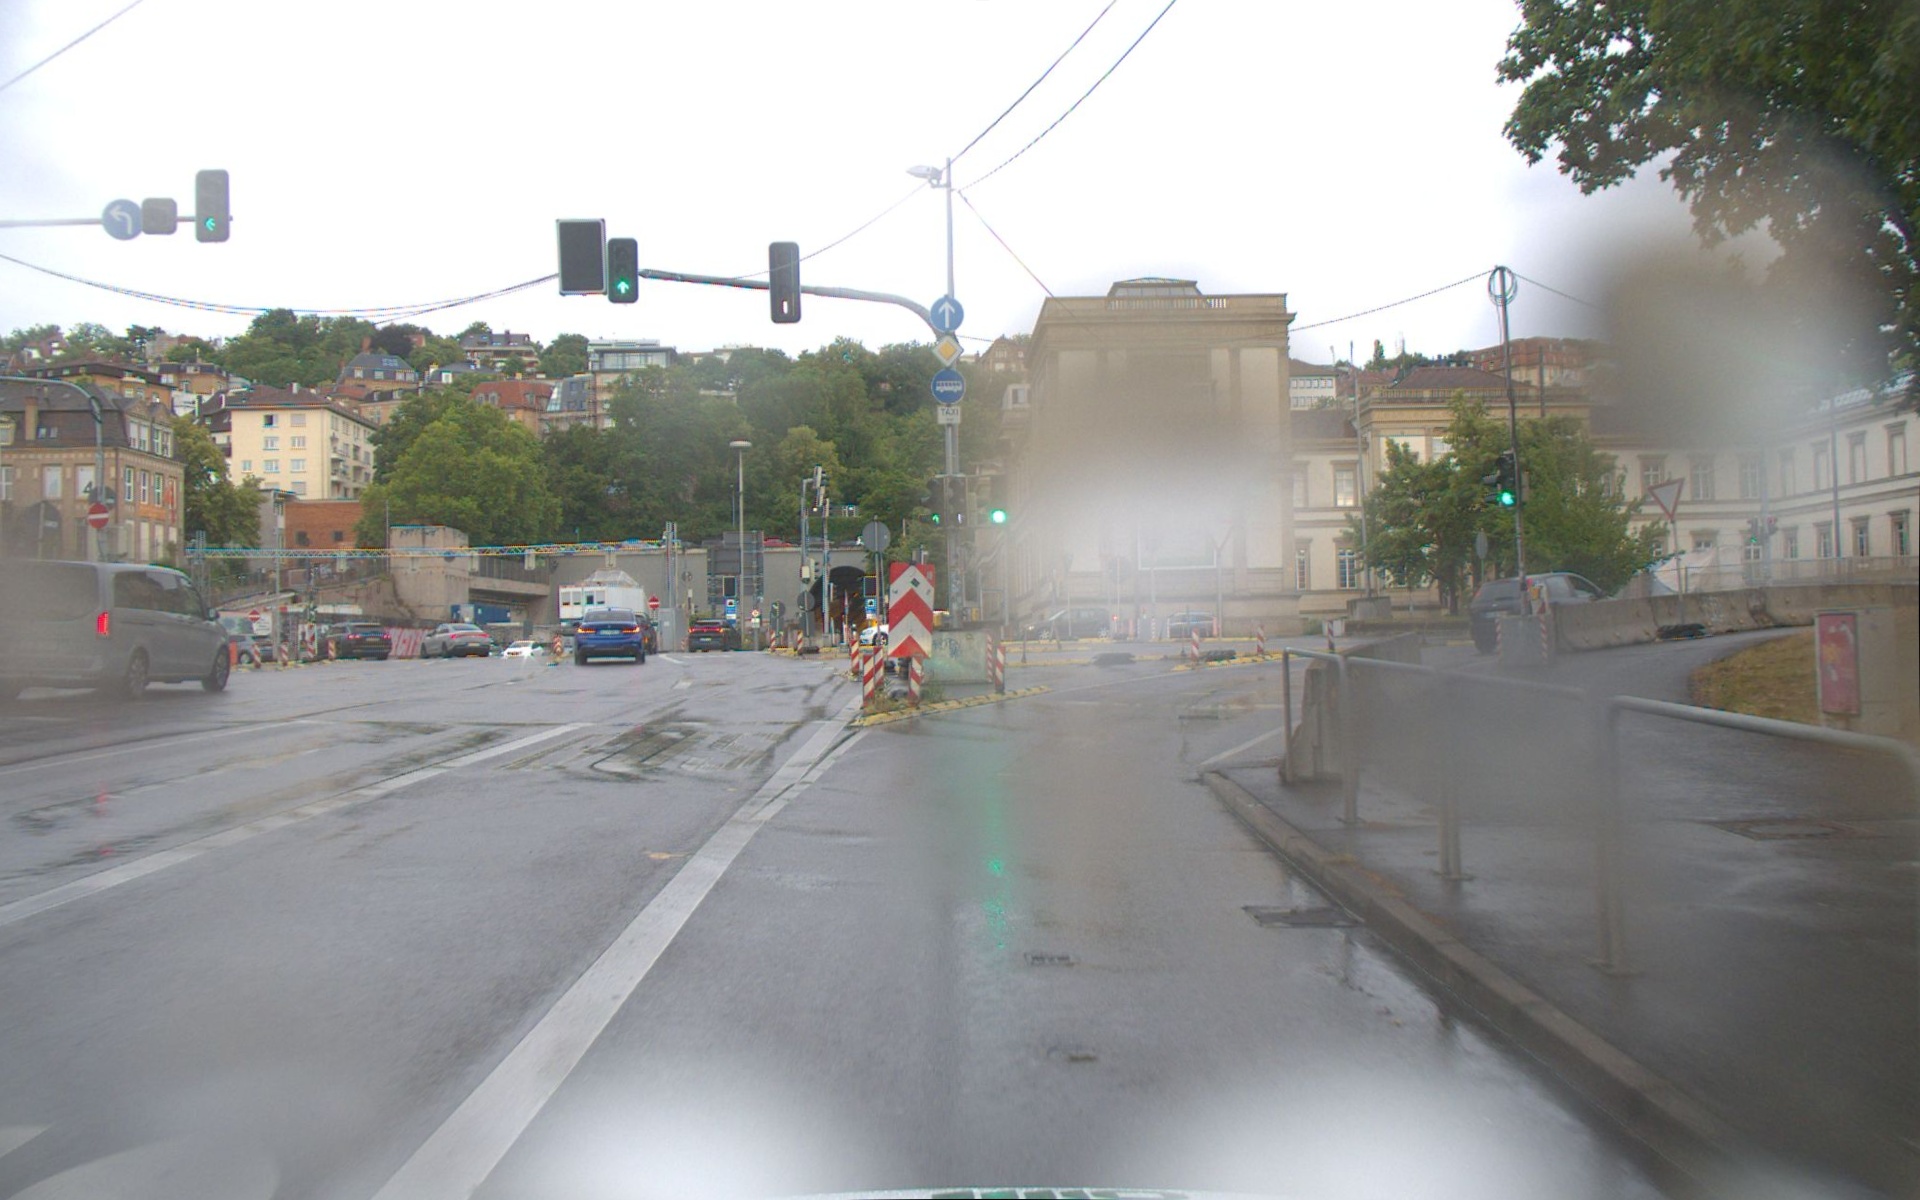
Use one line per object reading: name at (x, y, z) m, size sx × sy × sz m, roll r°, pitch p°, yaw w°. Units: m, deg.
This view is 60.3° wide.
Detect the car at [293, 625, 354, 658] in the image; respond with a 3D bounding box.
car at (-31.175, 2.012, 80.960) m, size 1.763 × 1.489 × 3.946 m, roll 0°, pitch 0°, yaw -37°

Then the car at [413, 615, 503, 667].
car at (-20.951, 1.686, 68.940) m, size 1.984 × 2.049 × 4.227 m, roll 0°, pitch 0°, yaw -43°

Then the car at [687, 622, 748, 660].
car at (-11.189, 1.882, 76.626) m, size 1.951 × 1.663 × 4.002 m, roll 1°, pitch 0°, yaw 4°

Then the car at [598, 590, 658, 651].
car at (-11.881, 0.694, 59.010) m, size 1.959 × 2.049 × 3.987 m, roll -1°, pitch 0°, yaw -13°

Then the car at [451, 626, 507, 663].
car at (-28.072, 2.570, 96.668) m, size 1.952 × 2.049 × 4.002 m, roll 0°, pitch 0°, yaw 3°

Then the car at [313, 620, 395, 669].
car at (-23.582, 1.711, 64.296) m, size 1.765 × 1.780 × 3.942 m, roll 0°, pitch 0°, yaw -40°

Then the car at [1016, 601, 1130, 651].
car at (4.764, 1.066, 70.270) m, size 4.584 × 2.049 × 1.998 m, roll 0°, pitch 0°, yaw -5°

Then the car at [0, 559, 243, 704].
car at (-12.165, 0.427, 23.739) m, size 1.954 × 1.871 × 4.680 m, roll 0°, pitch -1°, yaw -4°

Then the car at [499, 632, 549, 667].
car at (-27.587, 3.108, 104.748) m, size 1.952 × 2.049 × 4.002 m, roll 0°, pitch 0°, yaw 3°

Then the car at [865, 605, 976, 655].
car at (-1.681, 1.249, 69.560) m, size 4.536 × 2.049 × 1.998 m, roll 0°, pitch 0°, yaw -5°

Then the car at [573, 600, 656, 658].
car at (-9.110, 0.750, 43.866) m, size 1.957 × 1.464 × 3.991 m, roll 0°, pitch -1°, yaw -9°

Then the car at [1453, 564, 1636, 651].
car at (11.541, 0.115, 32.576) m, size 3.721 × 1.452 × 1.652 m, roll -4°, pitch 2°, yaw -39°

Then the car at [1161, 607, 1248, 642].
car at (12.316, 1.228, 83.362) m, size 4.095 × 1.730 × 1.822 m, roll 0°, pitch 0°, yaw -1°
